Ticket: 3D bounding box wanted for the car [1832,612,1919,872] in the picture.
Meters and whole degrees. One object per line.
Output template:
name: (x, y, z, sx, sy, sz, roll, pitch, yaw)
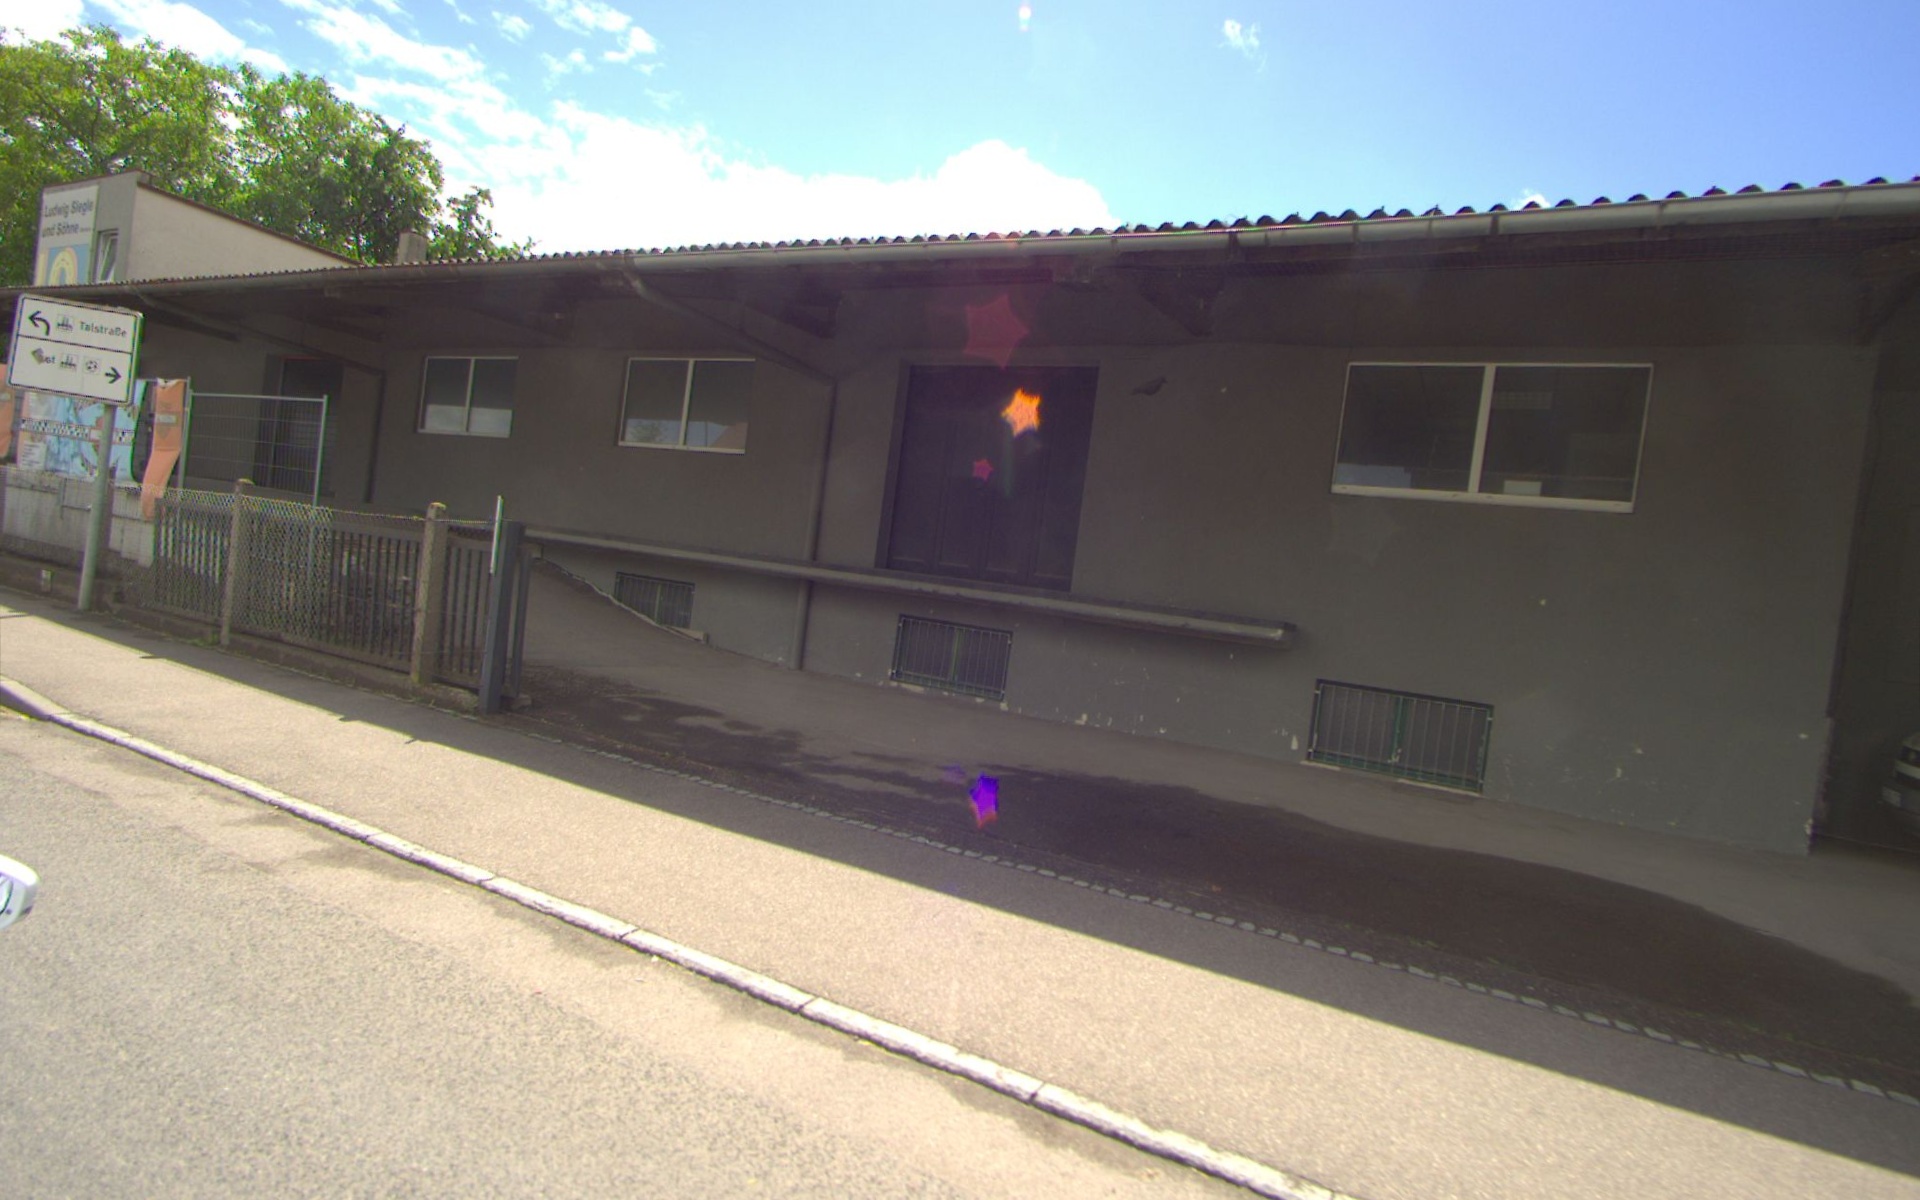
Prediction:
car: (9.596, 1.370, 7.023, 4.769, 1.934, 1.997, 8, 1, 29)
